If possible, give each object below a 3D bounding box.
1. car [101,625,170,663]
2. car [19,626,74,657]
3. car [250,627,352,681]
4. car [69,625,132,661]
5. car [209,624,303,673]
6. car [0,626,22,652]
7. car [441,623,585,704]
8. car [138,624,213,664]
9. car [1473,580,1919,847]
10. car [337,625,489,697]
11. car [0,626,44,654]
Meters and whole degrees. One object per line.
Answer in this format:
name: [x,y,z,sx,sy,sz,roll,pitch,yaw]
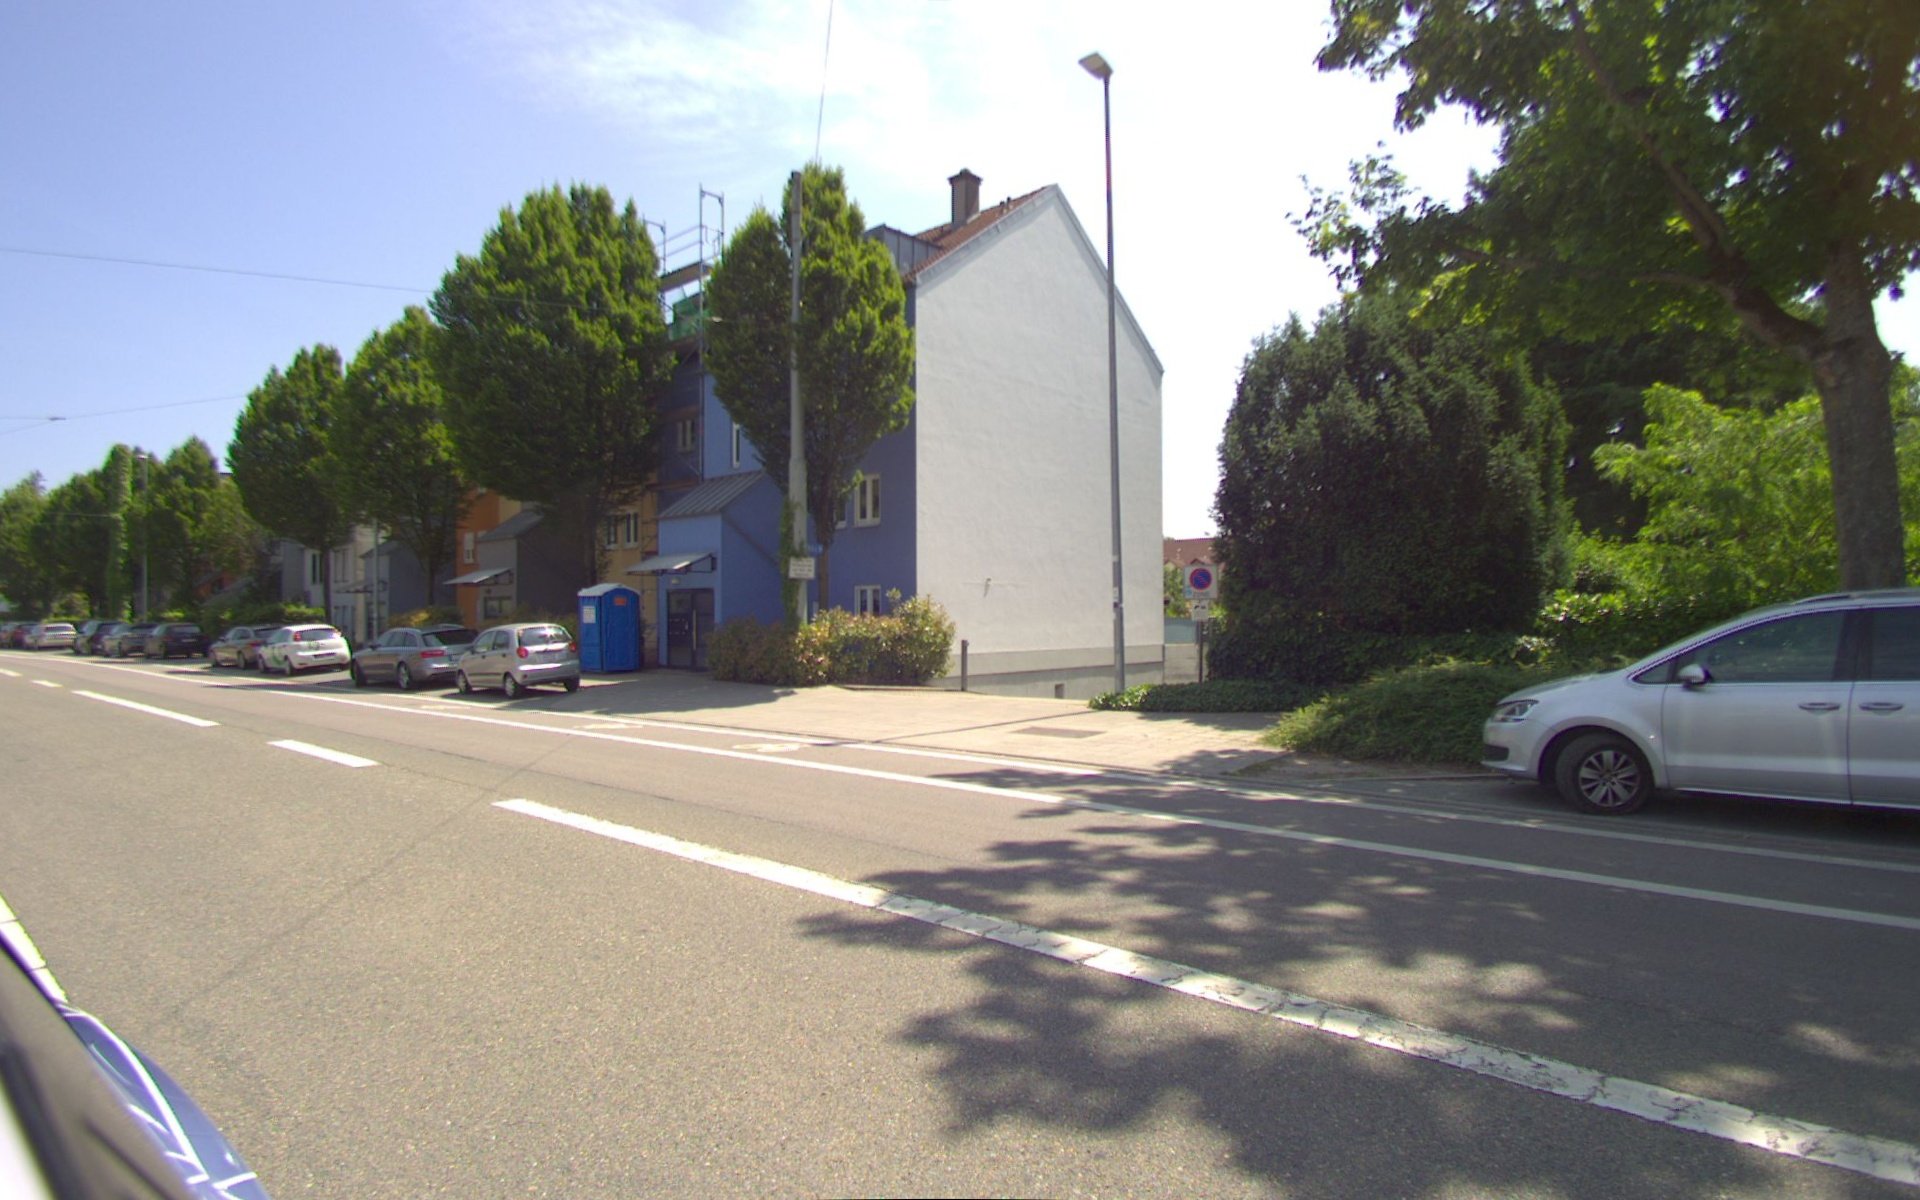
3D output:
car: [-37.311,1.955,45.774,4.079,1.507,1.635,-1,2,40]
car: [-51.122,2.297,56.618,4.079,1.507,1.702,-1,2,40]
car: [-20.818,1.654,31.928,3.646,1.507,1.635,-1,2,40]
car: [-42.204,2.075,49.654,4.079,1.599,1.635,-1,2,40]
car: [-24.672,1.671,35.423,4.079,1.507,1.635,-1,2,40]
car: [-59.793,2.445,62.832,3.467,1.507,1.842,-1,2,40]
car: [-9.679,1.317,21.839,3.279,1.507,1.487,-1,2,40]
car: [-33.404,1.828,43.036,4.079,1.507,1.635,-1,2,40]
car: [6.569,0.723,7.378,4.687,1.701,1.949,-1,-1,43]
car: [-13.637,1.448,25.119,4.635,1.507,1.659,-1,2,40]
car: [-55.927,2.338,60.022,3.467,1.507,1.842,-1,2,40]
